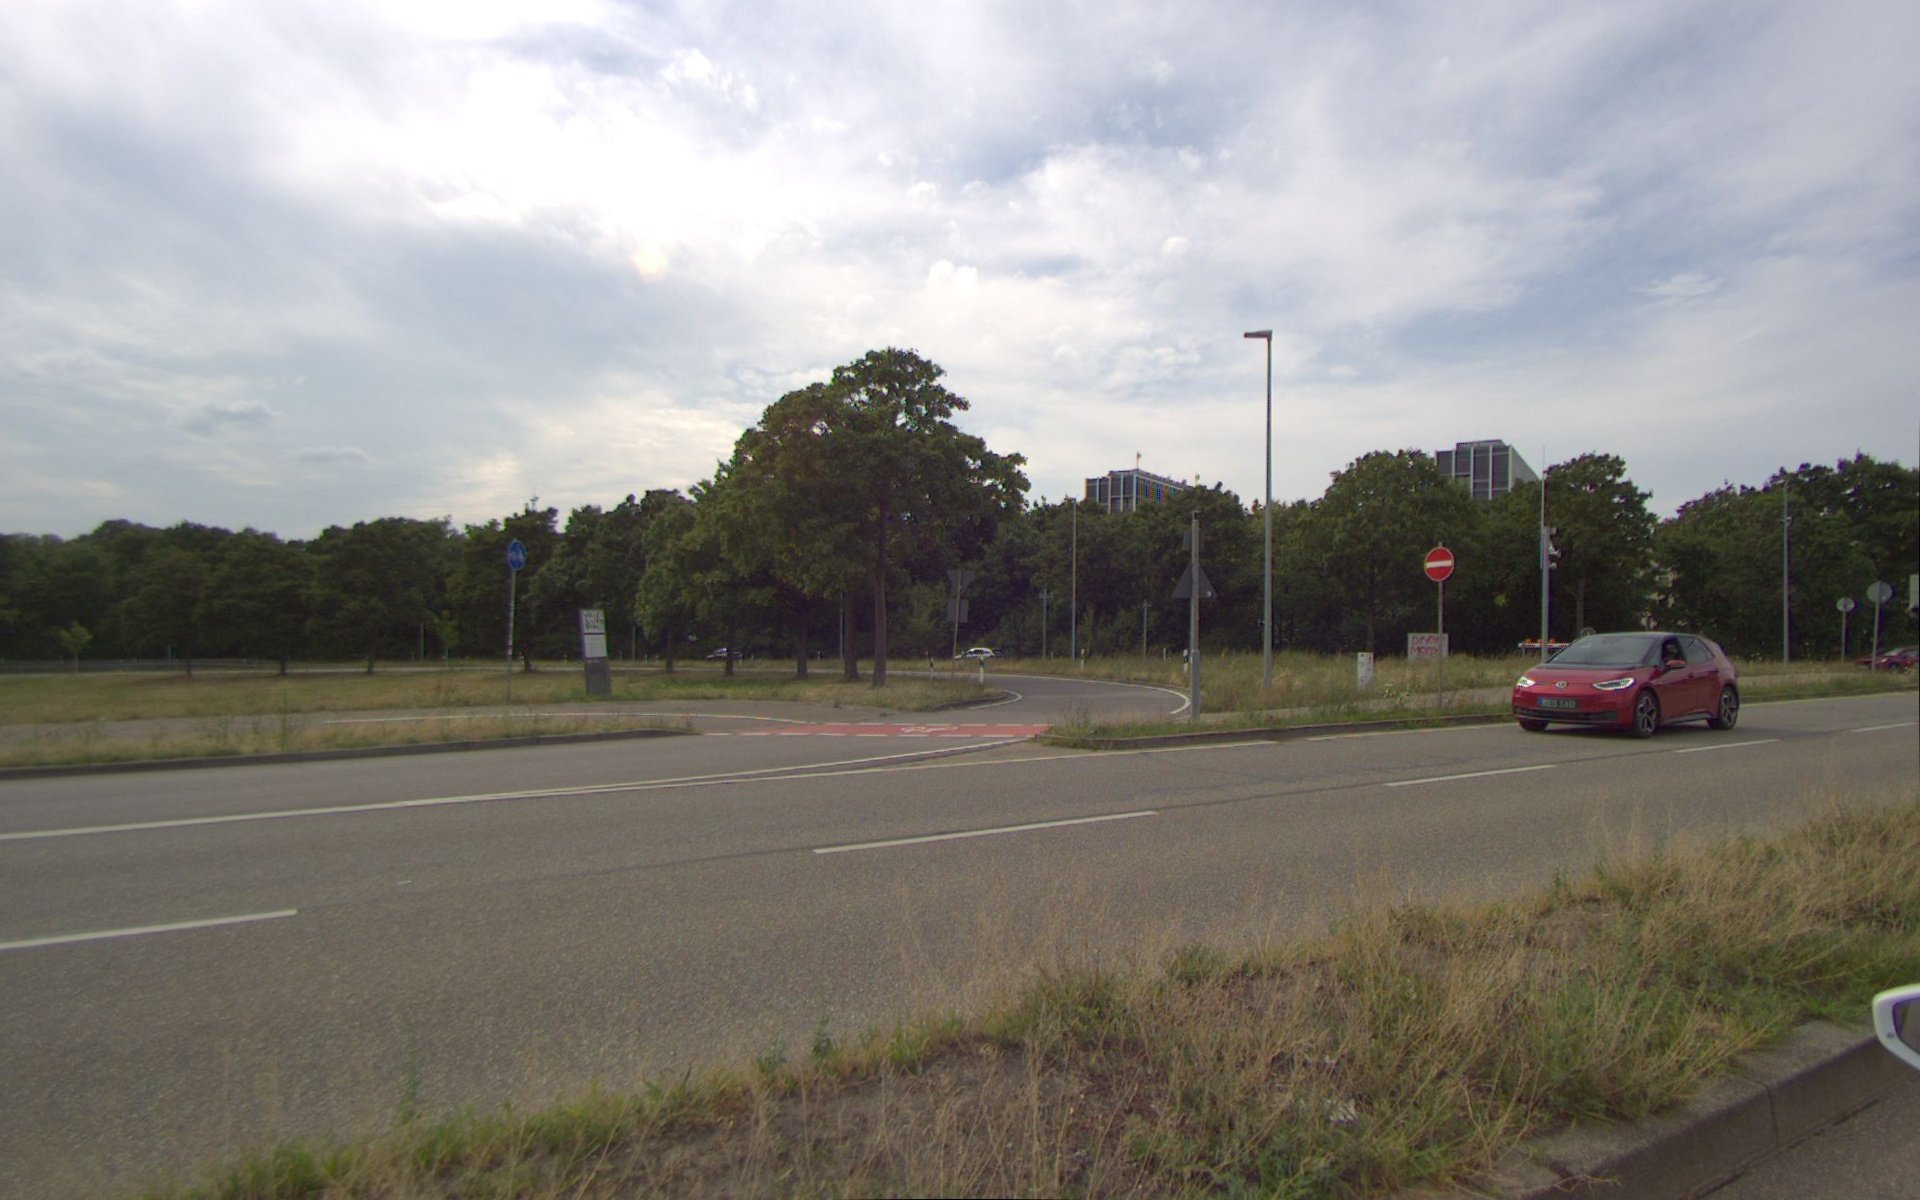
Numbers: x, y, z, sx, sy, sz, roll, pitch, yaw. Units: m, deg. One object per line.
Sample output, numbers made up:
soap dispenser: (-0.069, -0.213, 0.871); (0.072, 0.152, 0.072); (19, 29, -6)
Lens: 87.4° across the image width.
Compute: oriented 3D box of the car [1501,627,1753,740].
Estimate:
car: (10.631, 1.251, 15.938); (4.289, 1.595, 1.643); (1, -3, -32)

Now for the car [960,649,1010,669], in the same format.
car: (1.844, 4.391, 75.279); (1.563, 1.414, 3.831); (2, -2, -42)

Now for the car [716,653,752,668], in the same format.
car: (-22.083, 5.912, 98.258); (3.824, 1.414, 1.565); (-1, -2, 43)

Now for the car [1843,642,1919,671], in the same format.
car: (46.233, 2.765, 49.590); (4.099, 1.386, 1.516); (0, -2, -5)
